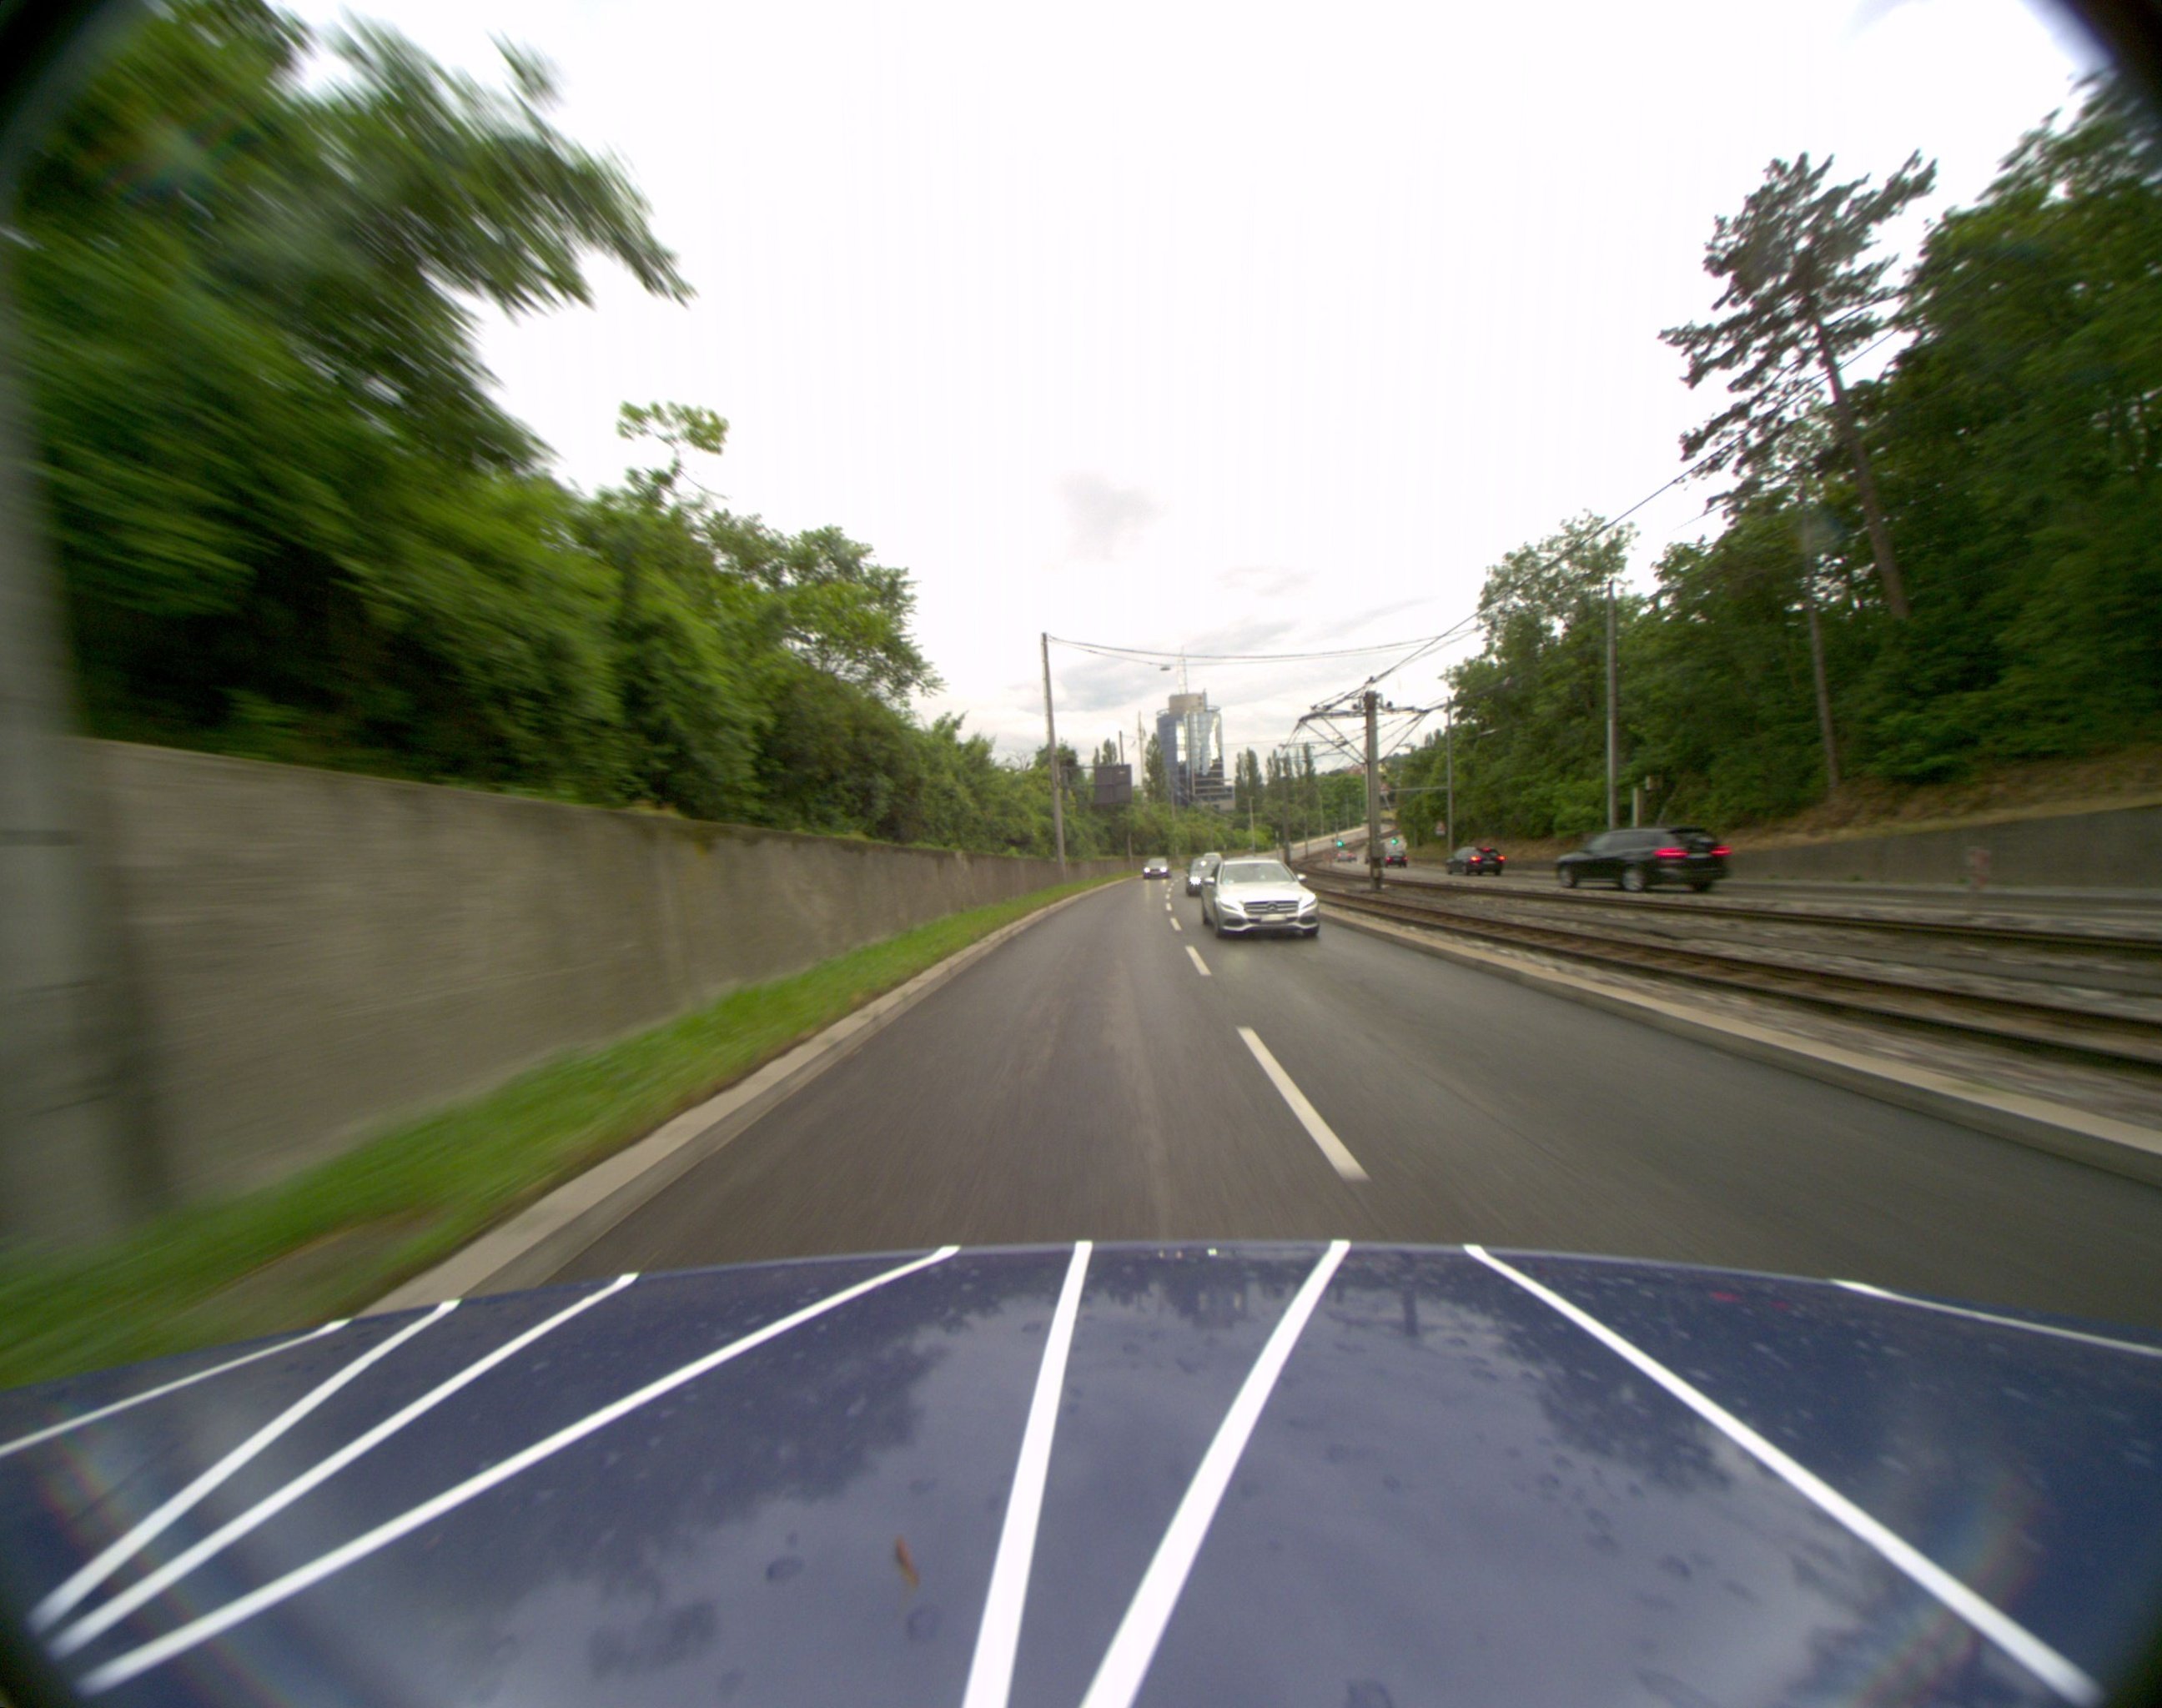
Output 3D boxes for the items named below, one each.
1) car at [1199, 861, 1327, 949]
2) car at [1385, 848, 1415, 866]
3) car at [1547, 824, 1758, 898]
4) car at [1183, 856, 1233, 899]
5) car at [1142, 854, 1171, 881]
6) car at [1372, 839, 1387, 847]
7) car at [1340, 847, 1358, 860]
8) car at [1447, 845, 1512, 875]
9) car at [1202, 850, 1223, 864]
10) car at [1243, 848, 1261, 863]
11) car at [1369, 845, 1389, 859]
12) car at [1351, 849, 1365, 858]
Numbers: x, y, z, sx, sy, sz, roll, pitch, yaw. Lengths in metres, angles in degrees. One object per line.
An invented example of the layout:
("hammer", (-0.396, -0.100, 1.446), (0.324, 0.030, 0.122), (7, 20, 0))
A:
("car", (3.423, 0.895, 15.101), (1.860, 1.395, 4.316), (-1, 0, 5))
("car", (26.460, 0.222, 63.188), (1.896, 1.373, 4.458), (-2, 0, 18))
("car", (16.180, 0.188, 21.986), (2.239, 1.820, 5.137), (-2, 0, 1))
("car", (4.895, 0.851, 29.681), (1.728, 1.462, 3.890), (-3, 0, 8))
("car", (5.212, 0.896, 52.756), (1.809, 1.501, 4.000), (-4, 2, 5))
("car", (58.893, -2.247, 149.733), (2.211, 1.449, 4.470), (-3, 0, 29))
("car", (33.892, -0.077, 95.951), (1.907, 1.449, 4.469), (-2, 0, 23))
("car", (20.732, 0.318, 39.715), (1.828, 1.462, 4.417), (-1, 0, 11))
("car", (16.557, 0.352, 95.586), (1.807, 1.501, 4.004), (-4, 2, 21))
("car", (24.317, 0.213, 108.030), (1.996, 2.002, 4.500), (-2, 0, 19))
("car", (32.989, -0.211, 84.028), (1.803, 1.415, 4.470), (-1, 0, 25))
("car", (38.243, -0.090, 104.884), (1.665, 1.193, 4.469), (-3, 0, 21))
